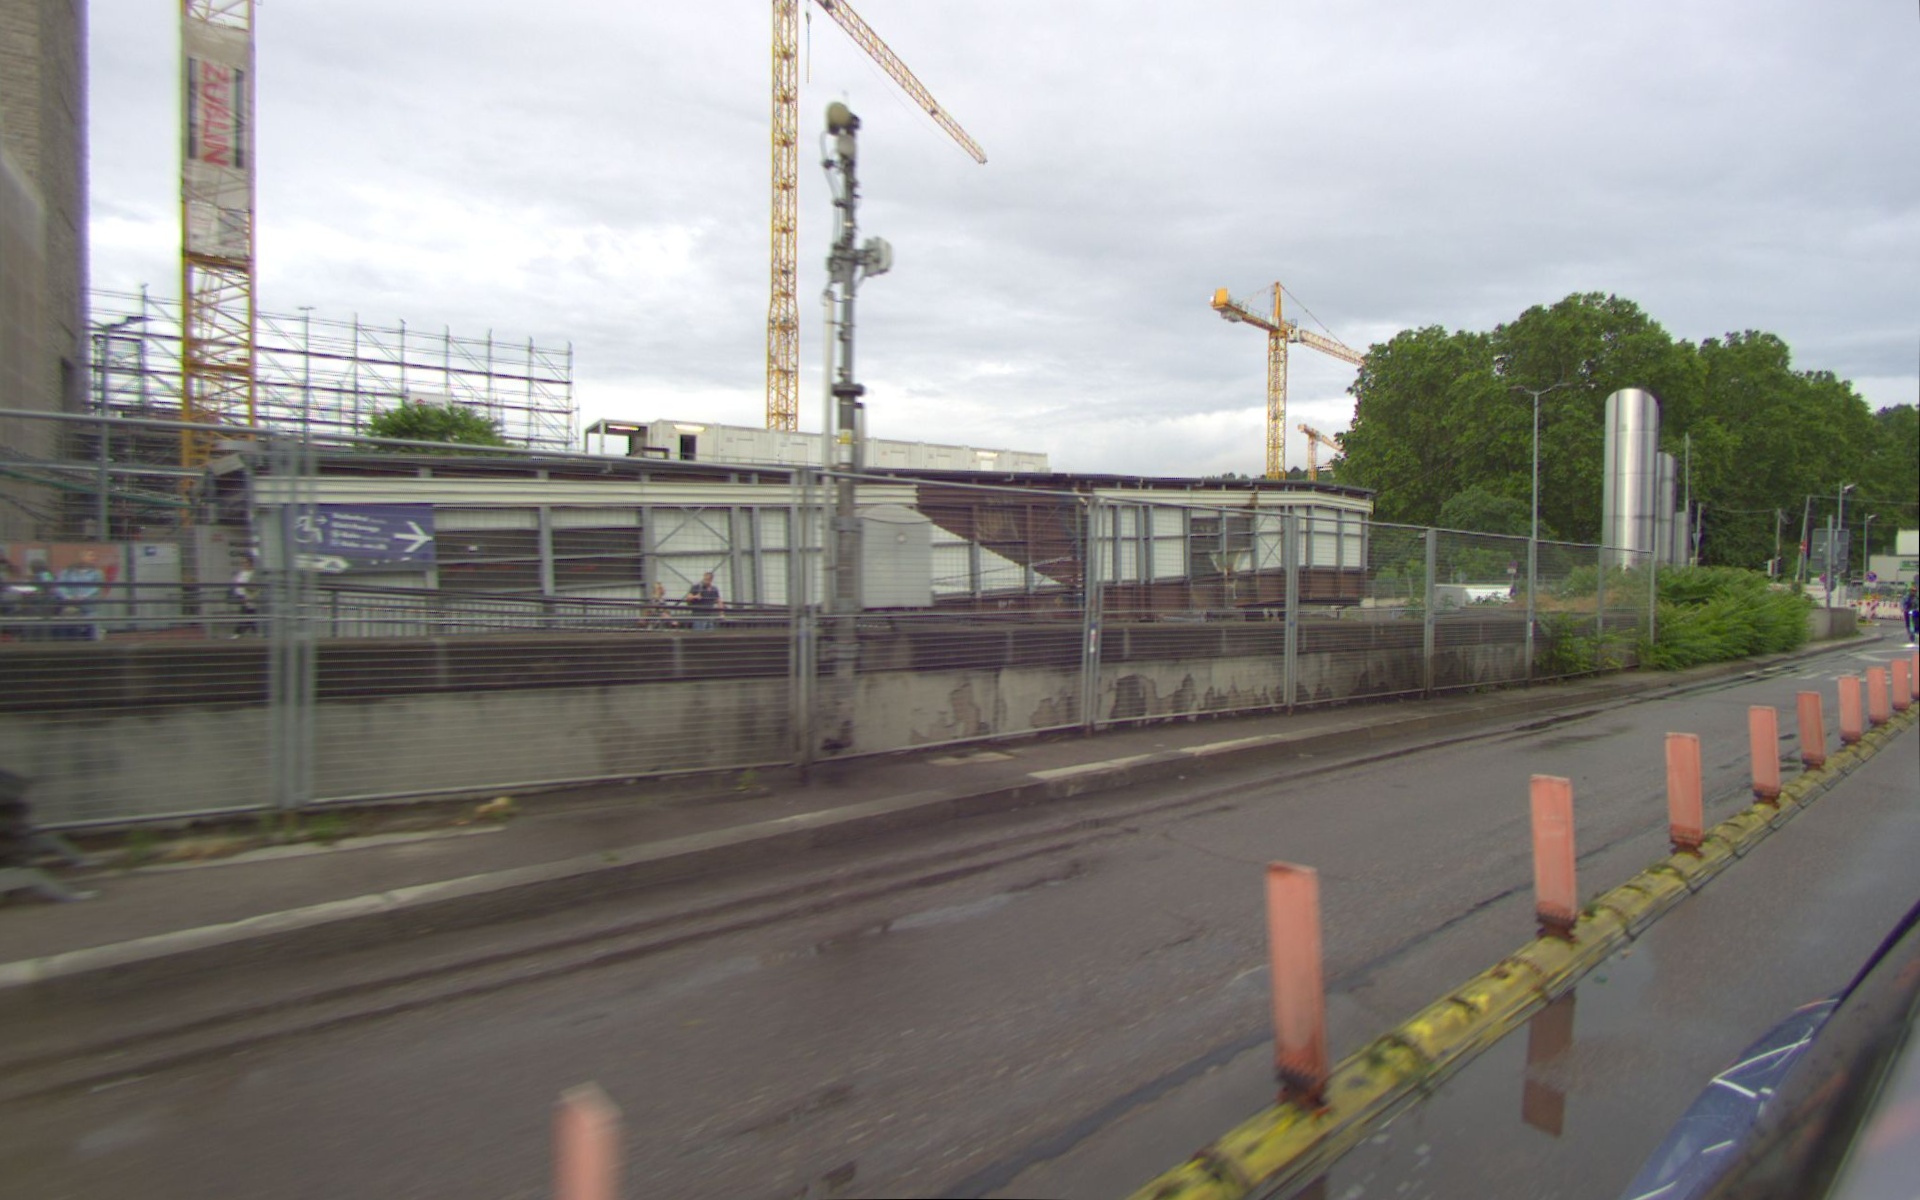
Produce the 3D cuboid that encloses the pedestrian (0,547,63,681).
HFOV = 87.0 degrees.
[{"bbox_3d":[-14.660,0.203,15.790,0.916,2.038,0.765,1,1,-39],"label":"pedestrian"}]

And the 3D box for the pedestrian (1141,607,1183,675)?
[{"bbox_3d":[5.639,1.128,28.215,0.997,1.855,0.672,0,0,-42],"label":"pedestrian"}]

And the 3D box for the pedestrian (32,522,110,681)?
[{"bbox_3d":[-11.845,0.019,13.482,0.752,2.039,0.805,0,-1,-43],"label":"pedestrian"}]

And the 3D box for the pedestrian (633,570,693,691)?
[{"bbox_3d":[-5.181,0.511,17.656,0.752,2.039,0.778,0,-1,-43],"label":"pedestrian"}]

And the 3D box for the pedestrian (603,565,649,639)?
[{"bbox_3d":[-8.423,0.053,25.511,0.756,1.816,0.951,2,1,-39],"label":"pedestrian"}]

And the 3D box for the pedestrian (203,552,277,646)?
[{"bbox_3d":[-13.340,-0.030,18.771,0.901,1.666,0.699,2,1,16],"label":"pedestrian"}]

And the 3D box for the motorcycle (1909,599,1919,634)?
[{"bbox_3d":[35.122,0.620,36.784,2.124,1.244,0.729,2,1,-42],"label":"motorcycle"}]

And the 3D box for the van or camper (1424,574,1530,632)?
[{"bbox_3d":[23.909,0.099,47.113,2.346,2.432,6.051,3,1,7],"label":"van or camper"}]

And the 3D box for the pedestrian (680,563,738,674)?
[{"bbox_3d":[-4.765,0.345,19.181,0.752,2.039,0.865,0,-1,-43],"label":"pedestrian"}]

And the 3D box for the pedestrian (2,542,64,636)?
[{"bbox_3d":[-20.504,-0.247,22.407,0.840,2.018,0.704,1,1,-27],"label":"pedestrian"}]

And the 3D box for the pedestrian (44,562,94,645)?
[{"bbox_3d":[-16.765,0.057,19.049,0.630,1.526,0.702,1,1,-37],"label":"pedestrian"}]

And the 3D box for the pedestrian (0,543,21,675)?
[{"bbox_3d":[-12.167,0.108,12.587,0.697,1.614,0.855,0,-1,-43],"label":"pedestrian"}]

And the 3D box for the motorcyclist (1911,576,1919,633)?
[{"bbox_3d":[35.209,0.196,36.853,0.577,2.061,0.725,2,1,-42],"label":"motorcyclist"}]

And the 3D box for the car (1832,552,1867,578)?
[{"bbox_3d":[79.984,-3.097,90.982,4.121,2.092,1.995,2,1,-45],"label":"car"}]
